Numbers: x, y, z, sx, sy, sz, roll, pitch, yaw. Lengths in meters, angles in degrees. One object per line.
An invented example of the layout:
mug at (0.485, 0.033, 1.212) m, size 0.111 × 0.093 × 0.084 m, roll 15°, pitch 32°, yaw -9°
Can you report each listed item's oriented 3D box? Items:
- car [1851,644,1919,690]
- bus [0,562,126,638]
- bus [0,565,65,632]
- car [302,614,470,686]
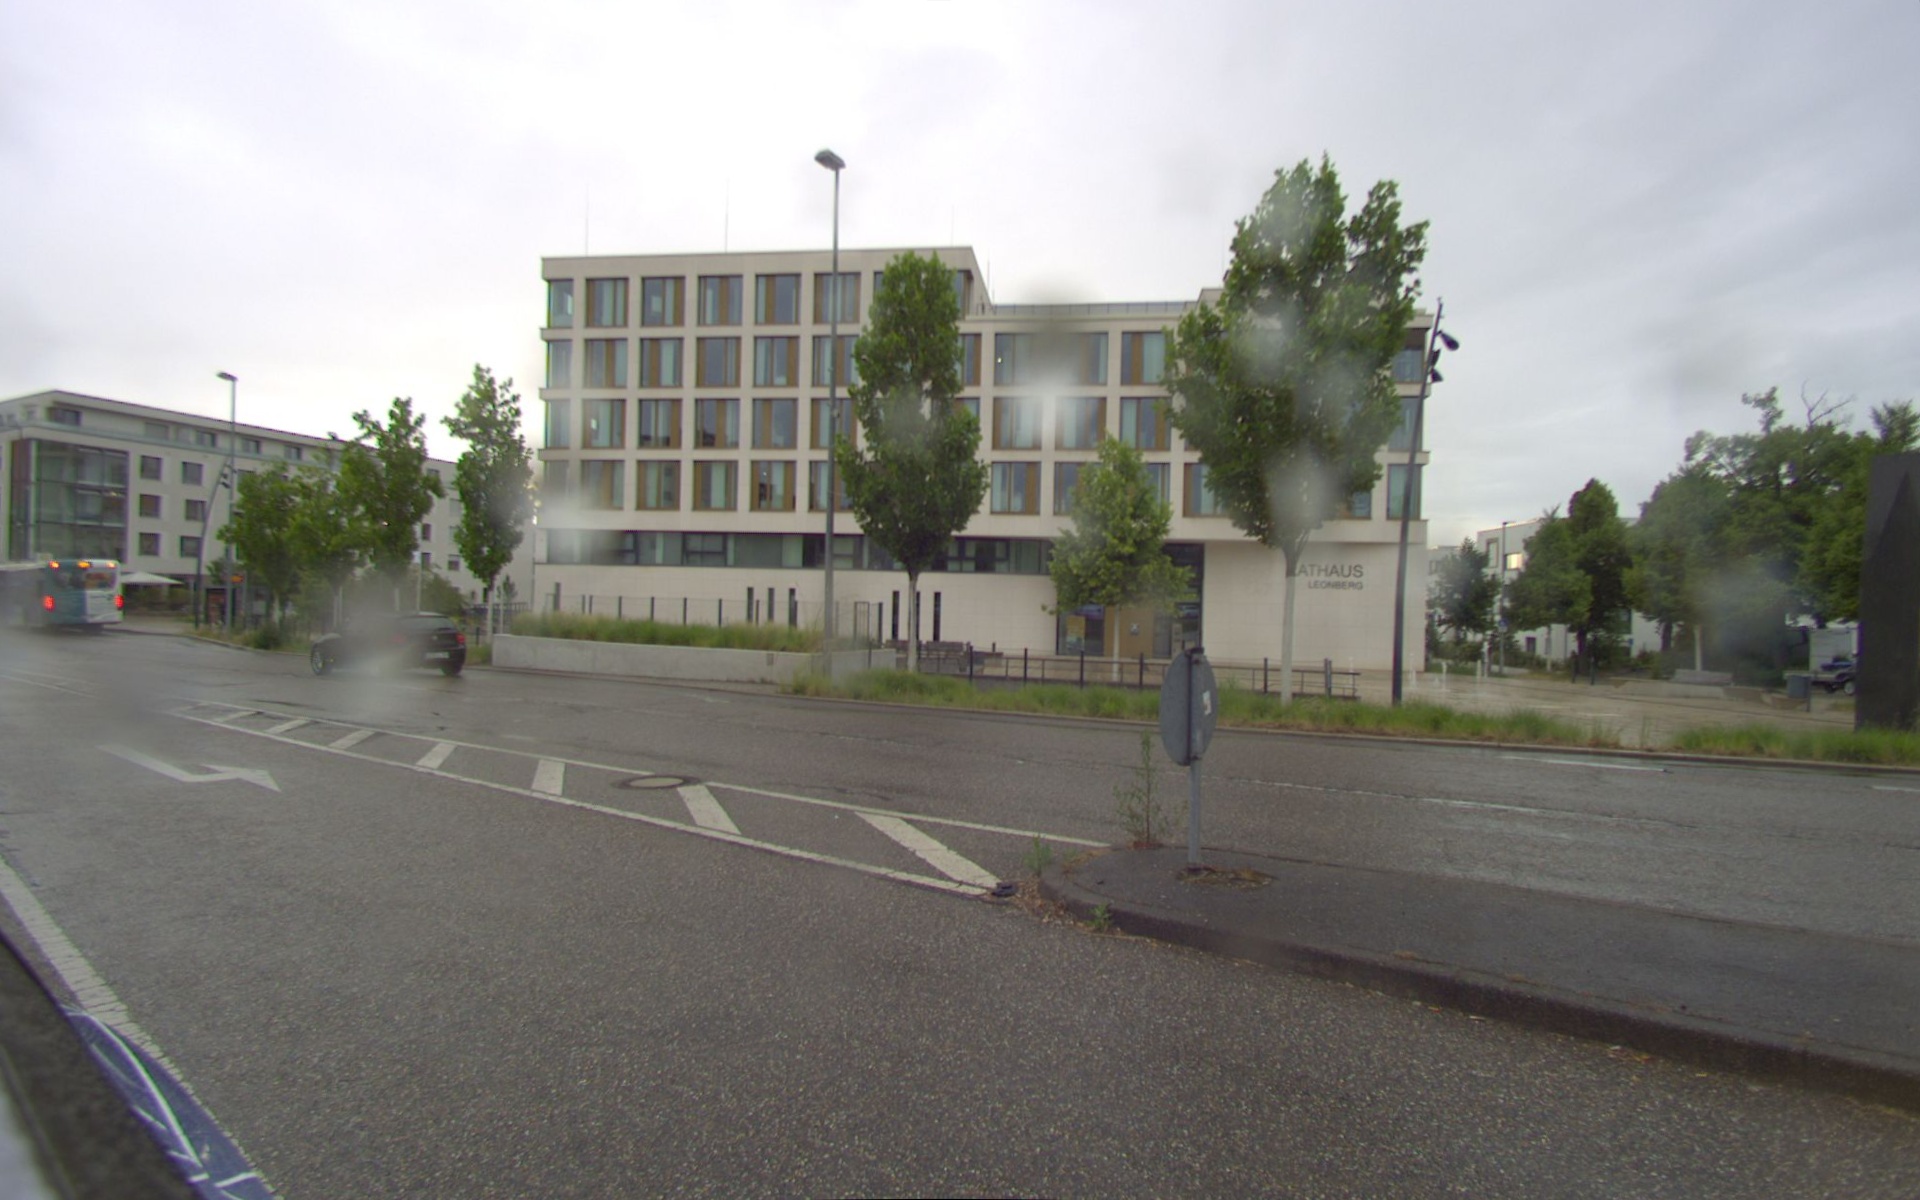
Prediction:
car at (34.036, 2.377, 35.758) m, size 1.978 × 1.551 × 3.987 m, roll 1°, pitch -3°, yaw 10°
bus at (-40.814, 0.063, 45.600) m, size 9.350 × 3.138 × 2.751 m, roll -1°, pitch -2°, yaw 36°
bus at (-48.302, -0.025, 50.894) m, size 8.860 × 3.138 × 2.768 m, roll 0°, pitch -2°, yaw 34°
car at (-12.709, 1.028, 22.310) m, size 4.276 × 1.401 × 1.768 m, roll 0°, pitch -1°, yaw 39°
